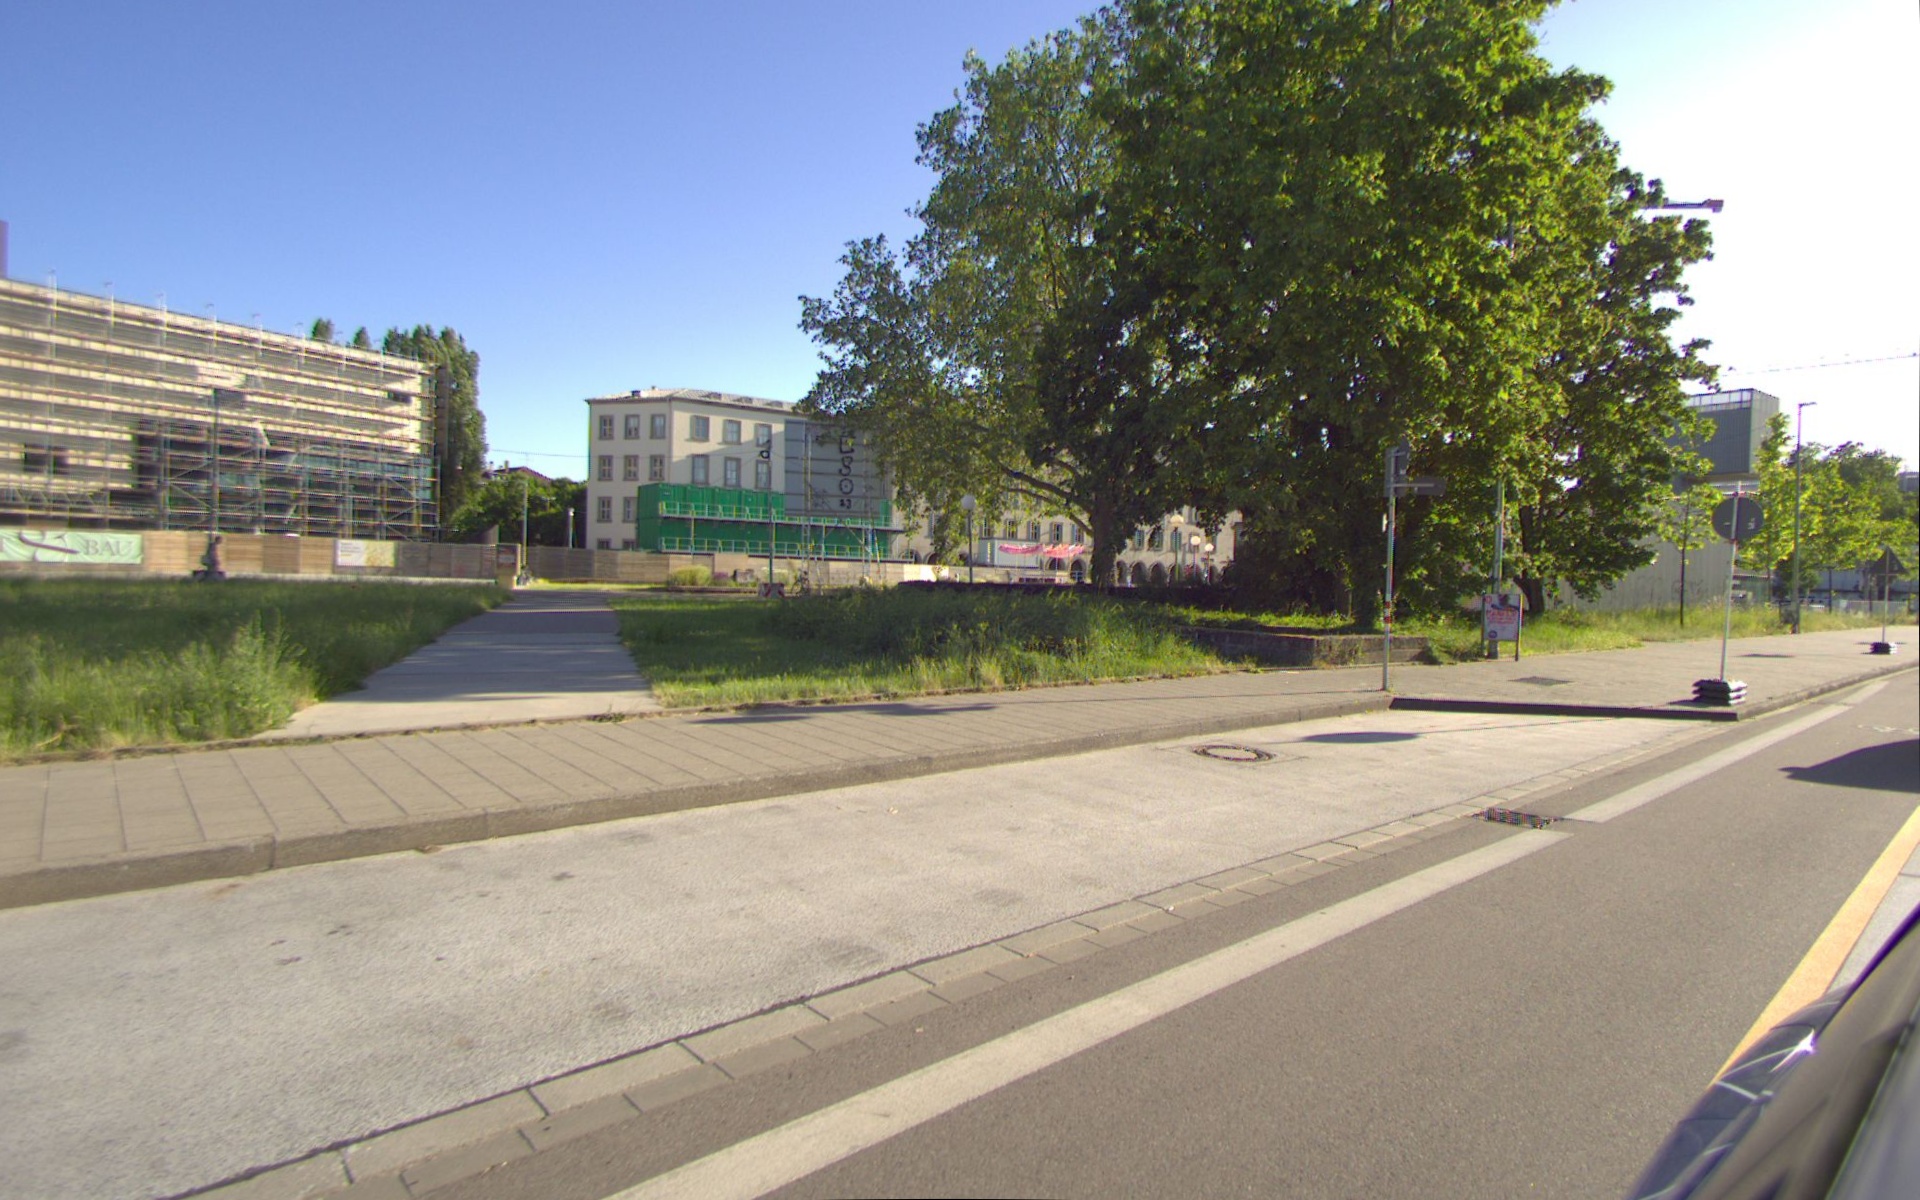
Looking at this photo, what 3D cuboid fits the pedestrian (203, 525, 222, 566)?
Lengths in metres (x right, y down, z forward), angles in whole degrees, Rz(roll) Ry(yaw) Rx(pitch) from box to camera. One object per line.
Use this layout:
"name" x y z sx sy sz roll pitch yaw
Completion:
"pedestrian" -24.310 -1.769 32.914 0.433 1.312 0.572 -2 0 -40
